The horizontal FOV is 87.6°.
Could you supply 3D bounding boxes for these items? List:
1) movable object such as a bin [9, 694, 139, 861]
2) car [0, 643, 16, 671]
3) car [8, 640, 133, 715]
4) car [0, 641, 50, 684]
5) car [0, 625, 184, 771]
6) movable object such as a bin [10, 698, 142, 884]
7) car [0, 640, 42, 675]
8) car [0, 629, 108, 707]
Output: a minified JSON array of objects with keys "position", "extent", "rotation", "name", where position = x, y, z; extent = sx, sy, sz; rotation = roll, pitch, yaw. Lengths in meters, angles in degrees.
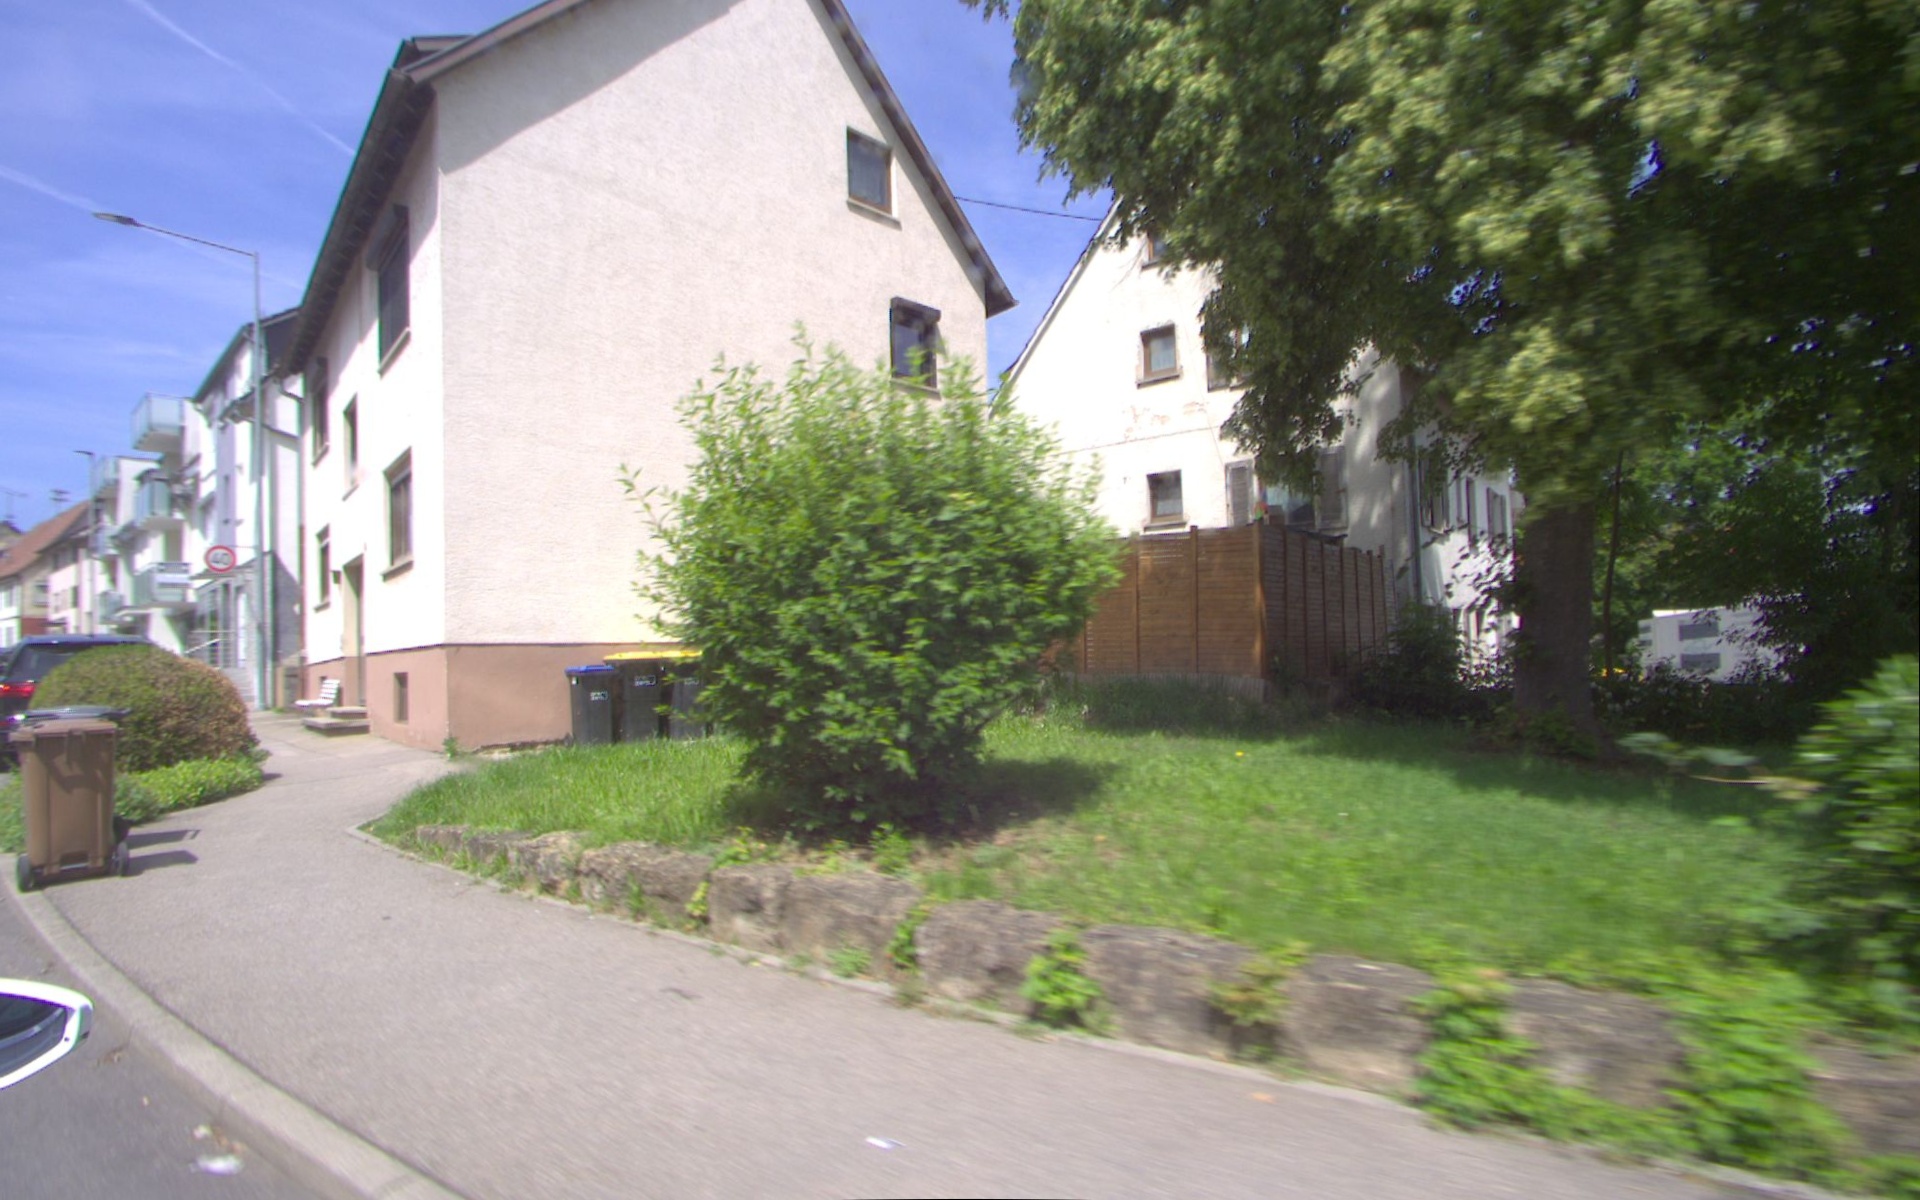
[{"position":[-5.818,1.141,6.602],"extent":[0.519,1.006,0.499],"rotation":[2,-2,-30],"name":"movable object such as a bin"},{"position":[-49.114,2.850,50.509],"extent":[4.136,1.370,1.659],"rotation":[-2,-2,39],"name":"car"},{"position":[-19.955,1.652,22.389],"extent":[4.668,1.474,1.778],"rotation":[-2,-2,44],"name":"car"},{"position":[-34.952,2.290,36.997],"extent":[1.786,1.443,4.248],"rotation":[0,-2,-45],"name":"car"},{"position":[-12.191,1.265,13.883],"extent":[1.831,1.690,4.613],"rotation":[2,-4,-43],"name":"car"},{"position":[-5.276,1.106,5.980],"extent":[0.497,1.006,0.498],"rotation":[-1,-2,38],"name":"movable object such as a bin"},{"position":[-42.602,2.551,44.830],"extent":[4.362,1.421,1.785],"rotation":[-2,-1,42],"name":"car"},{"position":[-23.565,1.671,25.853],"extent":[4.669,1.739,1.941],"rotation":[-2,0,45],"name":"car"}]
